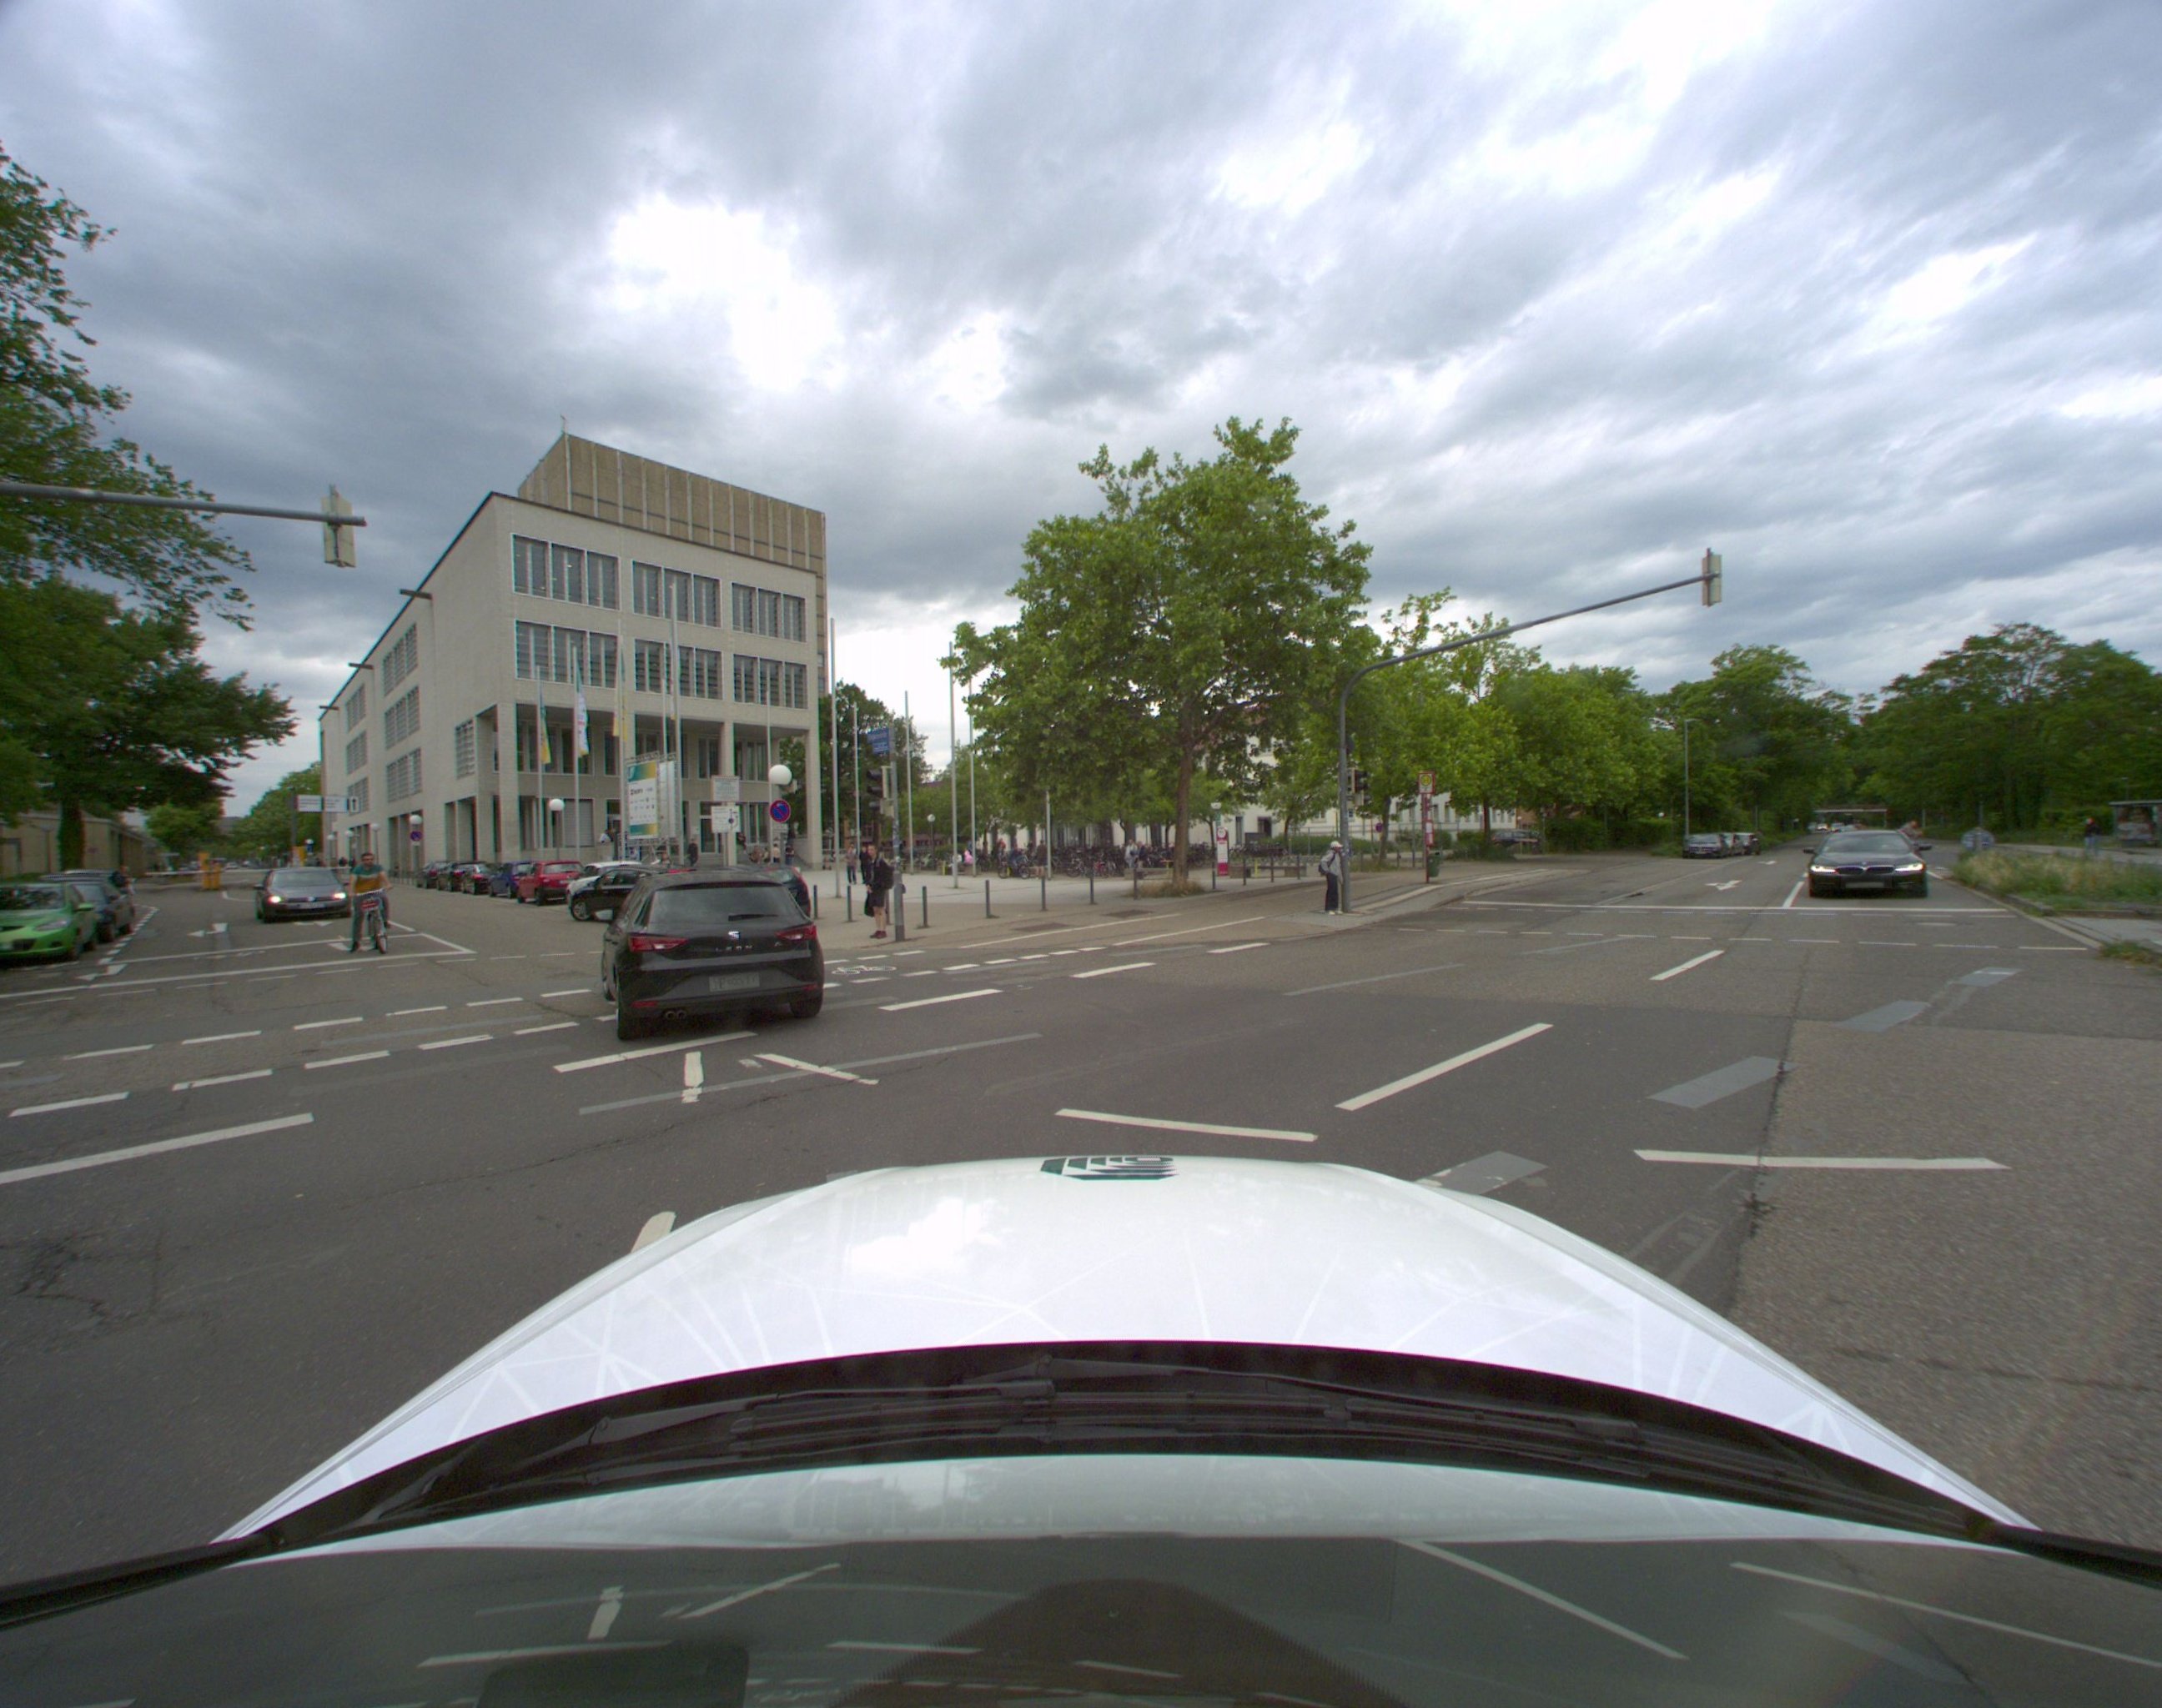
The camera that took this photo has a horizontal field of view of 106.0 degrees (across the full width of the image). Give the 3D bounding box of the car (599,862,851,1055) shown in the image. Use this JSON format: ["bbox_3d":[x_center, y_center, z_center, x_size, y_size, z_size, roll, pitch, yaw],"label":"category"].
[{"bbox_3d":[-3.902,0.826,8.494,1.794,1.419,4.087,-1,1,-32],"label":"car"}]

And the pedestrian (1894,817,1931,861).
[{"bbox_3d":[34.058,-0.619,33.364,0.707,1.788,0.899,-1,1,19],"label":"pedestrian"}]

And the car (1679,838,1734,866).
[{"bbox_3d":[35.756,-0.134,46.514,4.023,1.512,1.975,-2,1,-45],"label":"car"}]

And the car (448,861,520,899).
[{"bbox_3d":[-26.696,1.098,36.362,4.364,1.442,1.865,1,2,44],"label":"car"}]

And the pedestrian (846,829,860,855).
[{"bbox_3d":[-14.640,-0.768,52.318,0.735,1.640,0.928,1,1,-12],"label":"pedestrian"}]

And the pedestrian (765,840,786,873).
[{"bbox_3d":[-17.182,0.134,45.752,0.727,1.785,0.769,-2,0,29],"label":"pedestrian"}]

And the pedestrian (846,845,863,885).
[{"bbox_3d":[-10.348,0.501,37.187,0.644,1.807,0.643,0,1,-25],"label":"pedestrian"}]

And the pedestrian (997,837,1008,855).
[{"bbox_3d":[-7.297,-0.704,75.610,0.658,1.641,0.667,-1,1,41],"label":"pedestrian"}]

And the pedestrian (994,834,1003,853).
[{"bbox_3d":[-7.013,-0.883,69.193,0.659,1.641,0.665,-2,1,-3],"label":"pedestrian"}]

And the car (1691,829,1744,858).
[{"bbox_3d":[38.675,-0.652,49.453,4.023,1.618,1.975,-2,1,-45],"label":"car"}]

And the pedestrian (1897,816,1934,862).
[{"bbox_3d":[33.388,-0.604,32.587,0.707,1.788,0.899,-1,1,19],"label":"pedestrian"}]

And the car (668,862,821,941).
[{"bbox_3d":[-7.735,1.001,18.552,4.054,1.501,1.637,-1,3,44],"label":"car"}]

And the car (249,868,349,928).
[{"bbox_3d":[-22.651,1.206,23.553,4.115,1.497,1.800,-1,1,43],"label":"car"}]

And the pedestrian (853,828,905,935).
[{"bbox_3d":[-3.848,0.506,15.475,0.794,1.952,0.752,-2,0,-23],"label":"pedestrian"}]

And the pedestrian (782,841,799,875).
[{"bbox_3d":[-16.565,0.216,46.508,0.599,1.864,0.779,-2,1,2],"label":"pedestrian"}]

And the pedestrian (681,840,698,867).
[{"bbox_3d":[-22.453,-0.022,46.717,0.623,1.526,0.719,2,2,44],"label":"pedestrian"}]

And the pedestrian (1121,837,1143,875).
[{"bbox_3d":[2.345,0.109,37.710,0.677,1.715,0.670,-3,1,-41],"label":"pedestrian"}]

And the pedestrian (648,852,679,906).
[{"bbox_3d":[-14.296,0.844,27.892,0.797,1.787,0.812,-2,0,-35],"label":"pedestrian"}]

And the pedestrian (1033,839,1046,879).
[{"bbox_3d":[-1.976,0.242,38.456,0.509,1.833,0.672,-2,0,-7],"label":"pedestrian"}]

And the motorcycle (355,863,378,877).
[{"bbox_3d":[-66.284,1.470,75.595,0.762,1.148,2.643,0,2,-22],"label":"motorcycle"}]

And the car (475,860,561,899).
[{"bbox_3d":[-22.853,1.011,32.985,4.320,1.411,1.711,-1,1,40],"label":"car"}]

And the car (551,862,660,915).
[{"bbox_3d":[-14.849,1.010,25.374,3.810,1.453,1.878,-1,1,43],"label":"car"}]

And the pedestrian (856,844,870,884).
[{"bbox_3d":[-9.996,0.447,37.330,0.529,1.805,0.555,-2,0,-19],"label":"pedestrian"}]

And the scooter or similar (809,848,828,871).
[{"bbox_3d":[-16.763,0.348,52.071,0.401,1.369,1.498,1,2,16],"label":"scooter or similar"}]

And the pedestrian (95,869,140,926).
[{"bbox_3d":[-29.510,1.312,24.963,0.956,1.661,0.745,1,3,45],"label":"pedestrian"}]

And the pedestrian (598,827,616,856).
[{"bbox_3d":[-26.918,-0.716,46.238,0.807,1.658,0.627,0,1,-22],"label":"pedestrian"}]

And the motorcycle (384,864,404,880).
[{"bbox_3d":[-54.313,1.374,64.415,0.568,1.148,2.201,0,2,-22],"label":"motorcycle"}]

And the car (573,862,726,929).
[{"bbox_3d":[-11.349,1.004,21.300,4.421,1.401,1.879,0,4,39],"label":"car"}]

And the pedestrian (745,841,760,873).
[{"bbox_3d":[-19.102,0.187,47.321,0.612,1.840,0.596,-2,0,44],"label":"pedestrian"}]

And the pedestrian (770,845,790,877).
[{"bbox_3d":[-17.356,0.402,46.963,0.727,1.785,0.726,-2,0,29],"label":"pedestrian"}]

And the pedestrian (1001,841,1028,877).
[{"bbox_3d":[-3.278,0.235,39.997,0.956,1.704,0.857,-1,1,42],"label":"pedestrian"}]

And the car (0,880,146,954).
[{"bbox_3d":[-23.692,1.402,19.122,1.814,1.408,4.283,-3,1,-43],"label":"car"}]

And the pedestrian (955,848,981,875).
[{"bbox_3d":[-5.938,0.395,42.805,0.956,1.420,0.858,-1,1,32],"label":"pedestrian"}]

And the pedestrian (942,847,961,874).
[{"bbox_3d":[-6.855,0.339,43.235,0.762,1.413,0.675,-2,0,11],"label":"pedestrian"}]

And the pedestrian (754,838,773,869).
[{"bbox_3d":[-18.169,-0.039,46.533,0.596,1.715,0.784,-2,0,44],"label":"pedestrian"}]

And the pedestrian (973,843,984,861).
[{"bbox_3d":[-9.501,-0.153,75.480,0.657,1.641,0.667,-2,1,40],"label":"pedestrian"}]

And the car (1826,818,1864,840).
[{"bbox_3d":[60.678,-1.998,64.655,4.219,1.618,1.975,-2,1,-45],"label":"car"}]

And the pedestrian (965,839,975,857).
[{"bbox_3d":[-10.223,-0.570,74.956,0.658,1.641,0.667,-2,1,41],"label":"pedestrian"}]

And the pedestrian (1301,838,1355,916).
[{"bbox_3d":[5.470,0.475,18.023,0.761,1.626,0.785,-2,5,-34],"label":"pedestrian"}]

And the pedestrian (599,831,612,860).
[{"bbox_3d":[-27.440,-0.499,47.000,0.633,1.658,0.799,0,2,-31],"label":"pedestrian"}]

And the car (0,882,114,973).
[{"bbox_3d":[-20.143,1.340,15.527,4.195,1.469,1.814,-1,1,45],"label":"car"}]

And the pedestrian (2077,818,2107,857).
[{"bbox_3d":[47.298,-0.787,38.108,0.592,1.809,0.799,-2,2,-43],"label":"pedestrian"}]

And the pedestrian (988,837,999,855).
[{"bbox_3d":[-8.197,-0.739,76.308,0.685,1.641,0.667,-1,1,41],"label":"pedestrian"}]

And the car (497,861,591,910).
[{"bbox_3d":[-19.064,1.046,28.845,4.220,1.473,1.729,0,4,43],"label":"car"}]

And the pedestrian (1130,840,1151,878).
[{"bbox_3d":[2.701,0.216,37.051,0.589,1.715,0.650,-2,1,-41],"label":"pedestrian"}]

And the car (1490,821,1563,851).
[{"bbox_3d":[28.619,-1.136,52.449,4.015,1.752,2.012,-1,1,26],"label":"car"}]
